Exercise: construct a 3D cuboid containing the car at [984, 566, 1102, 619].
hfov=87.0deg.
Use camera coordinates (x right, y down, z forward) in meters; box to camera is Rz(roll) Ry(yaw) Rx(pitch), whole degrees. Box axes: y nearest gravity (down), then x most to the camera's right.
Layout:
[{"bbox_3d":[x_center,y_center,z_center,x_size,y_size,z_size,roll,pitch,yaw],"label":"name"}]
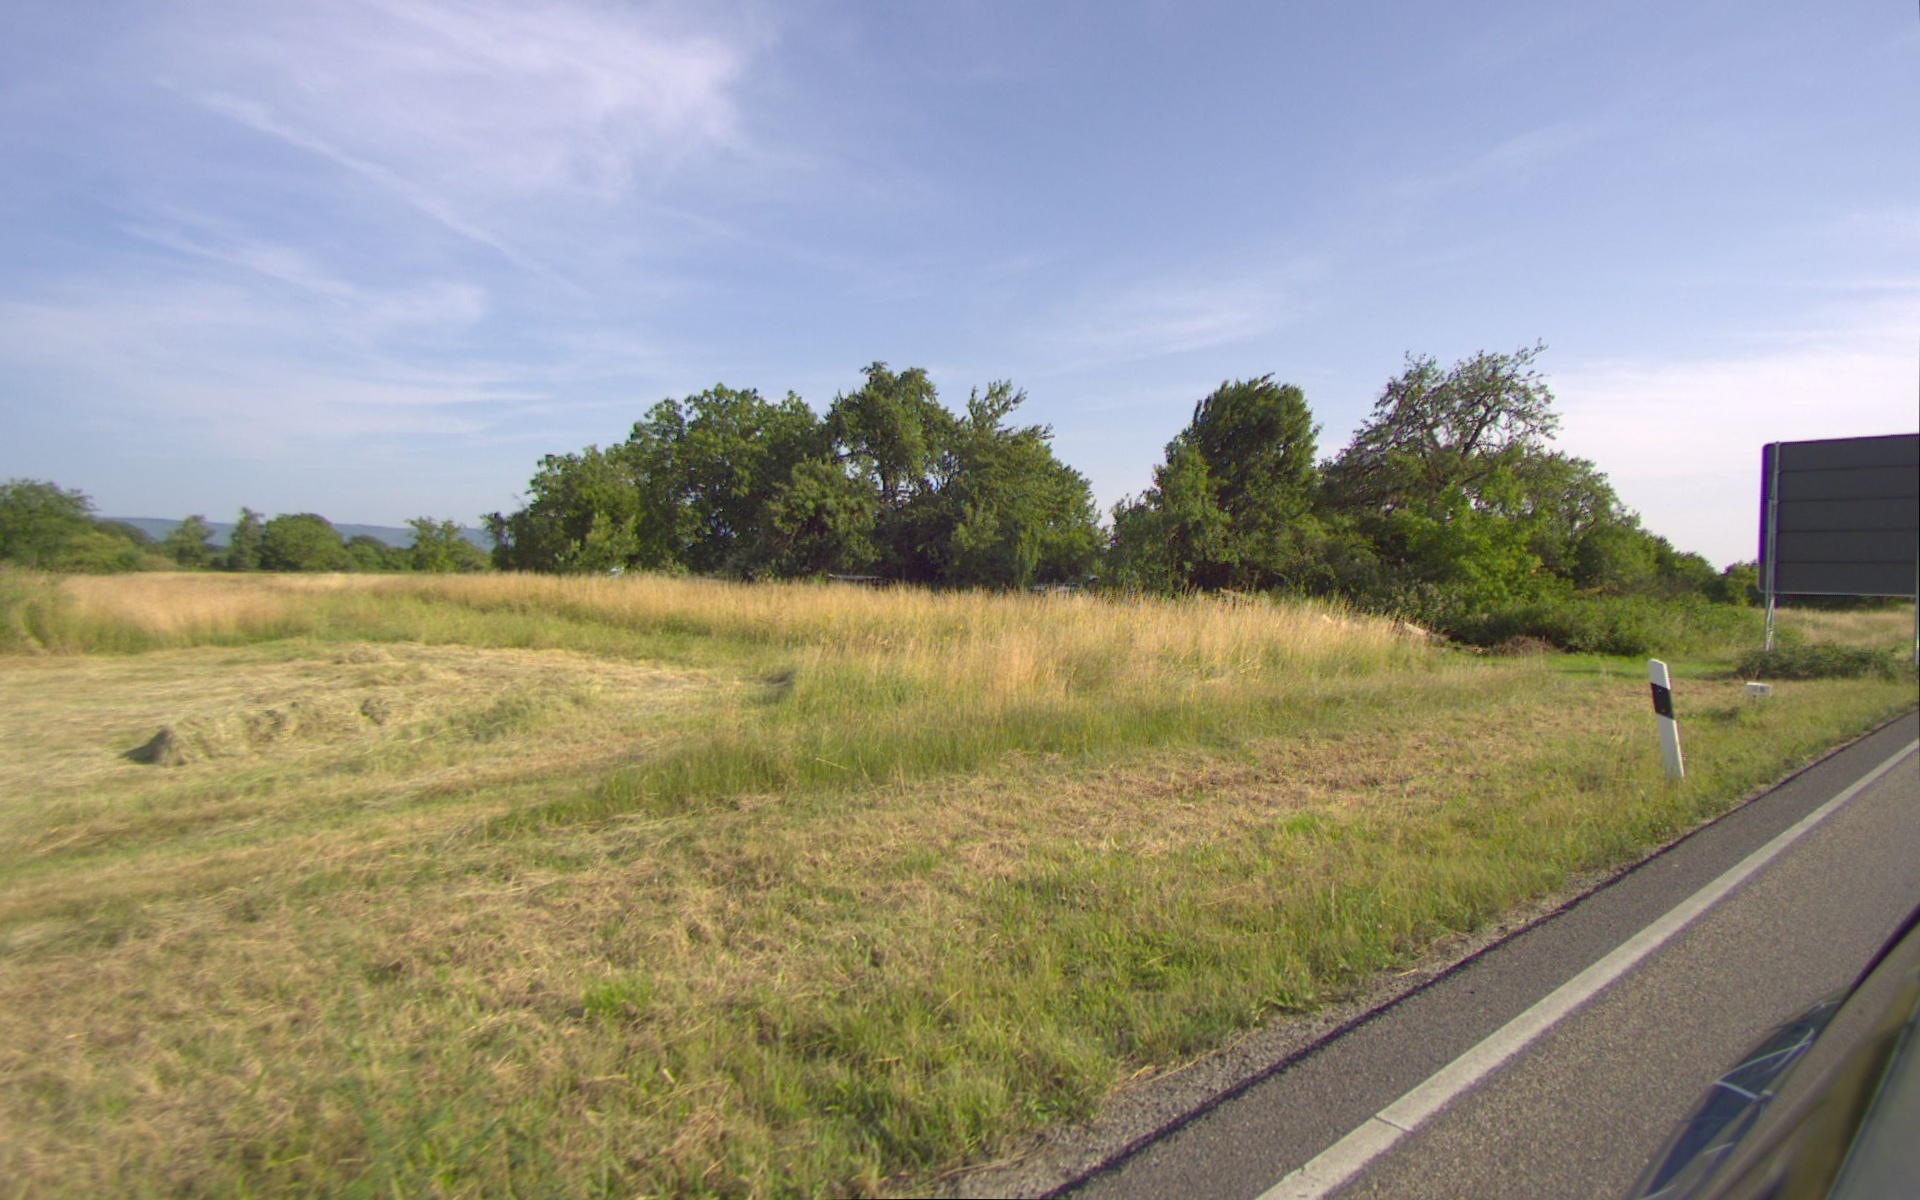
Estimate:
[{"bbox_3d":[2.974,-0.249,35.710,3.930,1.772,1.997,0,0,-41],"label":"car"}]
